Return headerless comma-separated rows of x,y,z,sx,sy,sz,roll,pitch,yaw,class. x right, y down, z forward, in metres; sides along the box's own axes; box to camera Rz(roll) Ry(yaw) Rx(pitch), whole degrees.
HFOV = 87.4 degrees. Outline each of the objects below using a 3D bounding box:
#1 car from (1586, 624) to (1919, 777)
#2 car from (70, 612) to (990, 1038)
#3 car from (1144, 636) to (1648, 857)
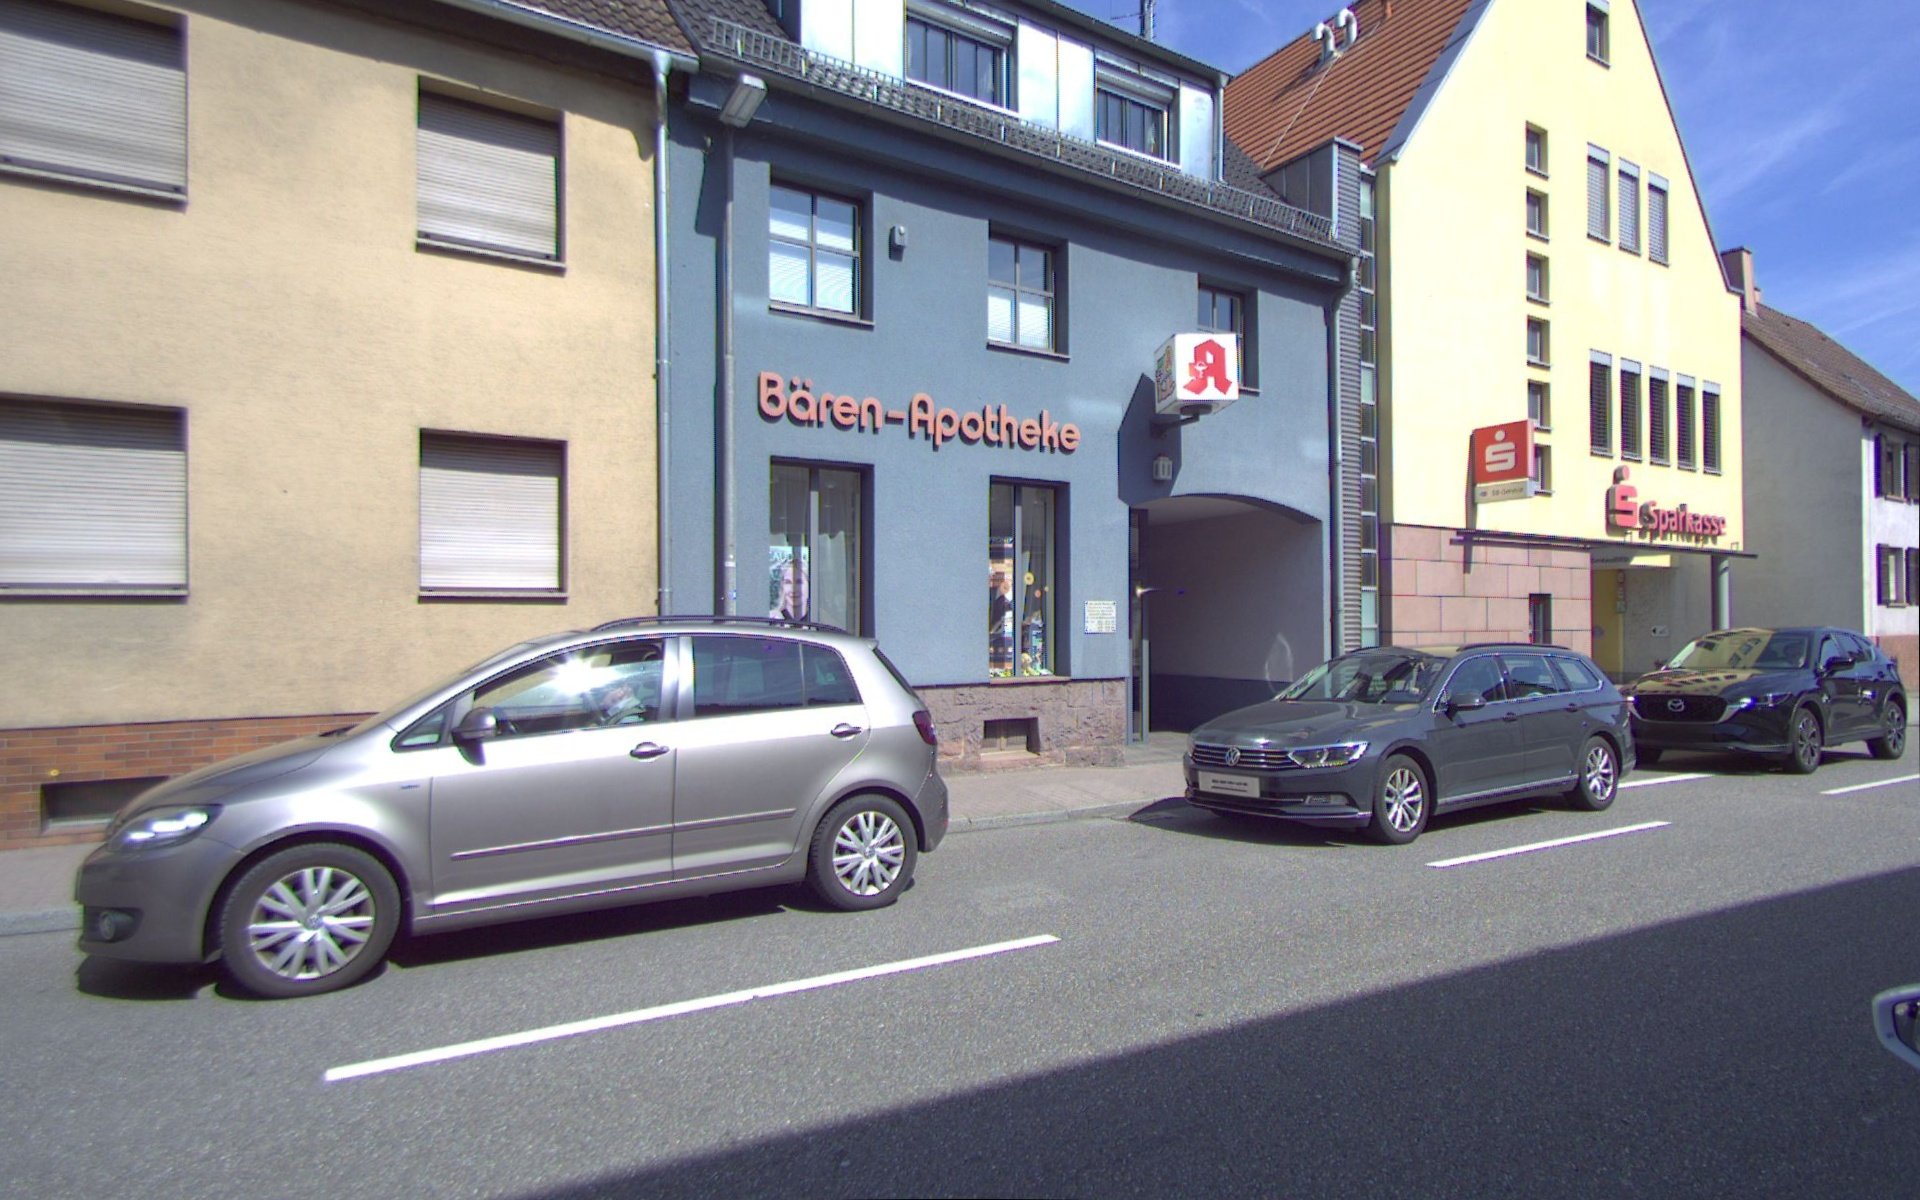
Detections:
10.026,1.170,12.589,4.467,1.610,1.858,2,-4,-31,car
-1.936,0.909,5.404,3.974,1.540,1.621,2,-4,-31,car
3.837,1.084,8.643,4.374,1.469,1.780,2,-4,-31,car
